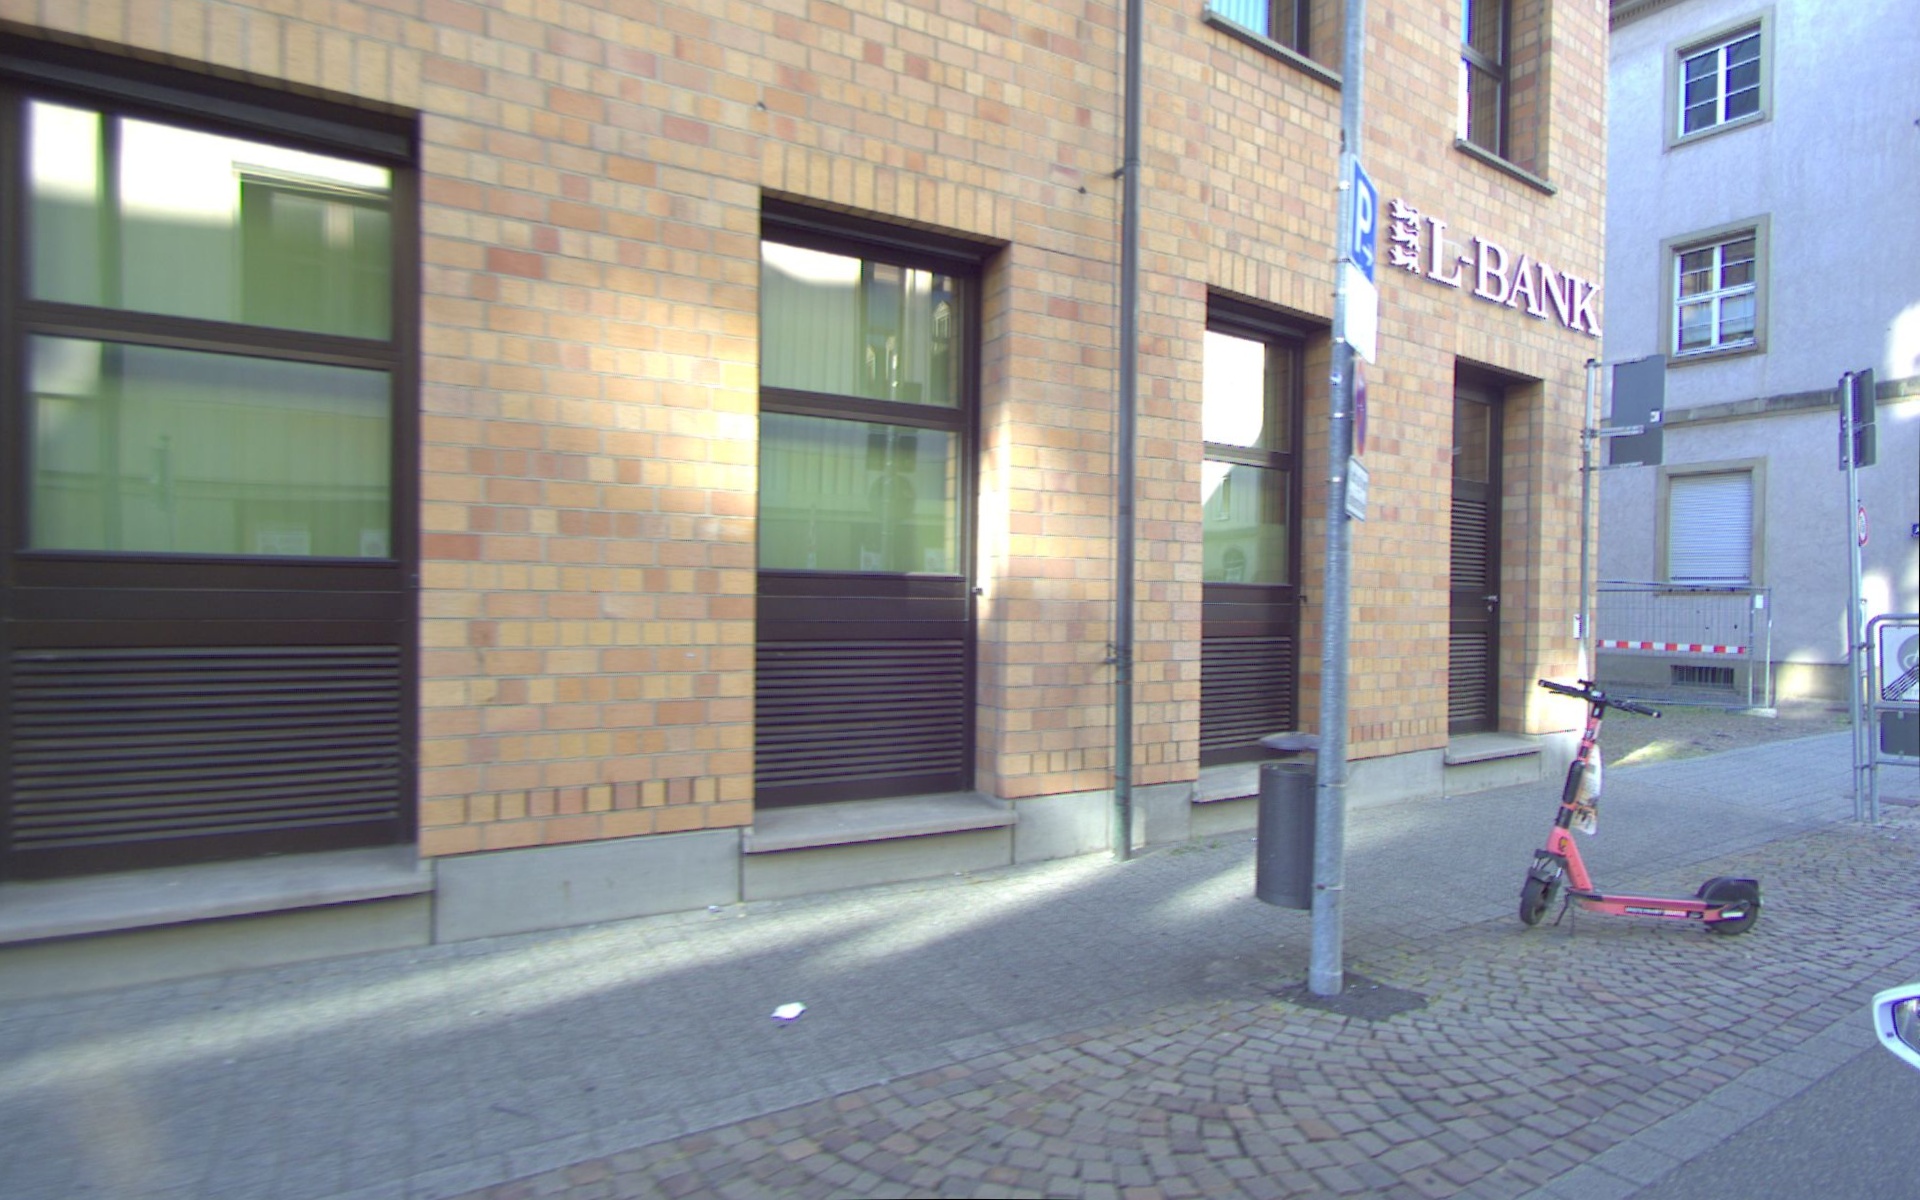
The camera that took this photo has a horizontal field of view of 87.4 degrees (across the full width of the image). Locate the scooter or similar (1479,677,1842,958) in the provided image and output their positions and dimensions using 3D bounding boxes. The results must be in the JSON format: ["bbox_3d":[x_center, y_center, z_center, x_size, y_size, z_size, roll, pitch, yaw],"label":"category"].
[{"bbox_3d":[3.407,1.021,4.965,1.331,1.233,0.700,0,0,-3],"label":"scooter or similar"}]

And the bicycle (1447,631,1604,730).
[{"bbox_3d":[7.495,1.040,13.332,1.745,1.217,0.808,1,1,-17],"label":"bicycle"}]
